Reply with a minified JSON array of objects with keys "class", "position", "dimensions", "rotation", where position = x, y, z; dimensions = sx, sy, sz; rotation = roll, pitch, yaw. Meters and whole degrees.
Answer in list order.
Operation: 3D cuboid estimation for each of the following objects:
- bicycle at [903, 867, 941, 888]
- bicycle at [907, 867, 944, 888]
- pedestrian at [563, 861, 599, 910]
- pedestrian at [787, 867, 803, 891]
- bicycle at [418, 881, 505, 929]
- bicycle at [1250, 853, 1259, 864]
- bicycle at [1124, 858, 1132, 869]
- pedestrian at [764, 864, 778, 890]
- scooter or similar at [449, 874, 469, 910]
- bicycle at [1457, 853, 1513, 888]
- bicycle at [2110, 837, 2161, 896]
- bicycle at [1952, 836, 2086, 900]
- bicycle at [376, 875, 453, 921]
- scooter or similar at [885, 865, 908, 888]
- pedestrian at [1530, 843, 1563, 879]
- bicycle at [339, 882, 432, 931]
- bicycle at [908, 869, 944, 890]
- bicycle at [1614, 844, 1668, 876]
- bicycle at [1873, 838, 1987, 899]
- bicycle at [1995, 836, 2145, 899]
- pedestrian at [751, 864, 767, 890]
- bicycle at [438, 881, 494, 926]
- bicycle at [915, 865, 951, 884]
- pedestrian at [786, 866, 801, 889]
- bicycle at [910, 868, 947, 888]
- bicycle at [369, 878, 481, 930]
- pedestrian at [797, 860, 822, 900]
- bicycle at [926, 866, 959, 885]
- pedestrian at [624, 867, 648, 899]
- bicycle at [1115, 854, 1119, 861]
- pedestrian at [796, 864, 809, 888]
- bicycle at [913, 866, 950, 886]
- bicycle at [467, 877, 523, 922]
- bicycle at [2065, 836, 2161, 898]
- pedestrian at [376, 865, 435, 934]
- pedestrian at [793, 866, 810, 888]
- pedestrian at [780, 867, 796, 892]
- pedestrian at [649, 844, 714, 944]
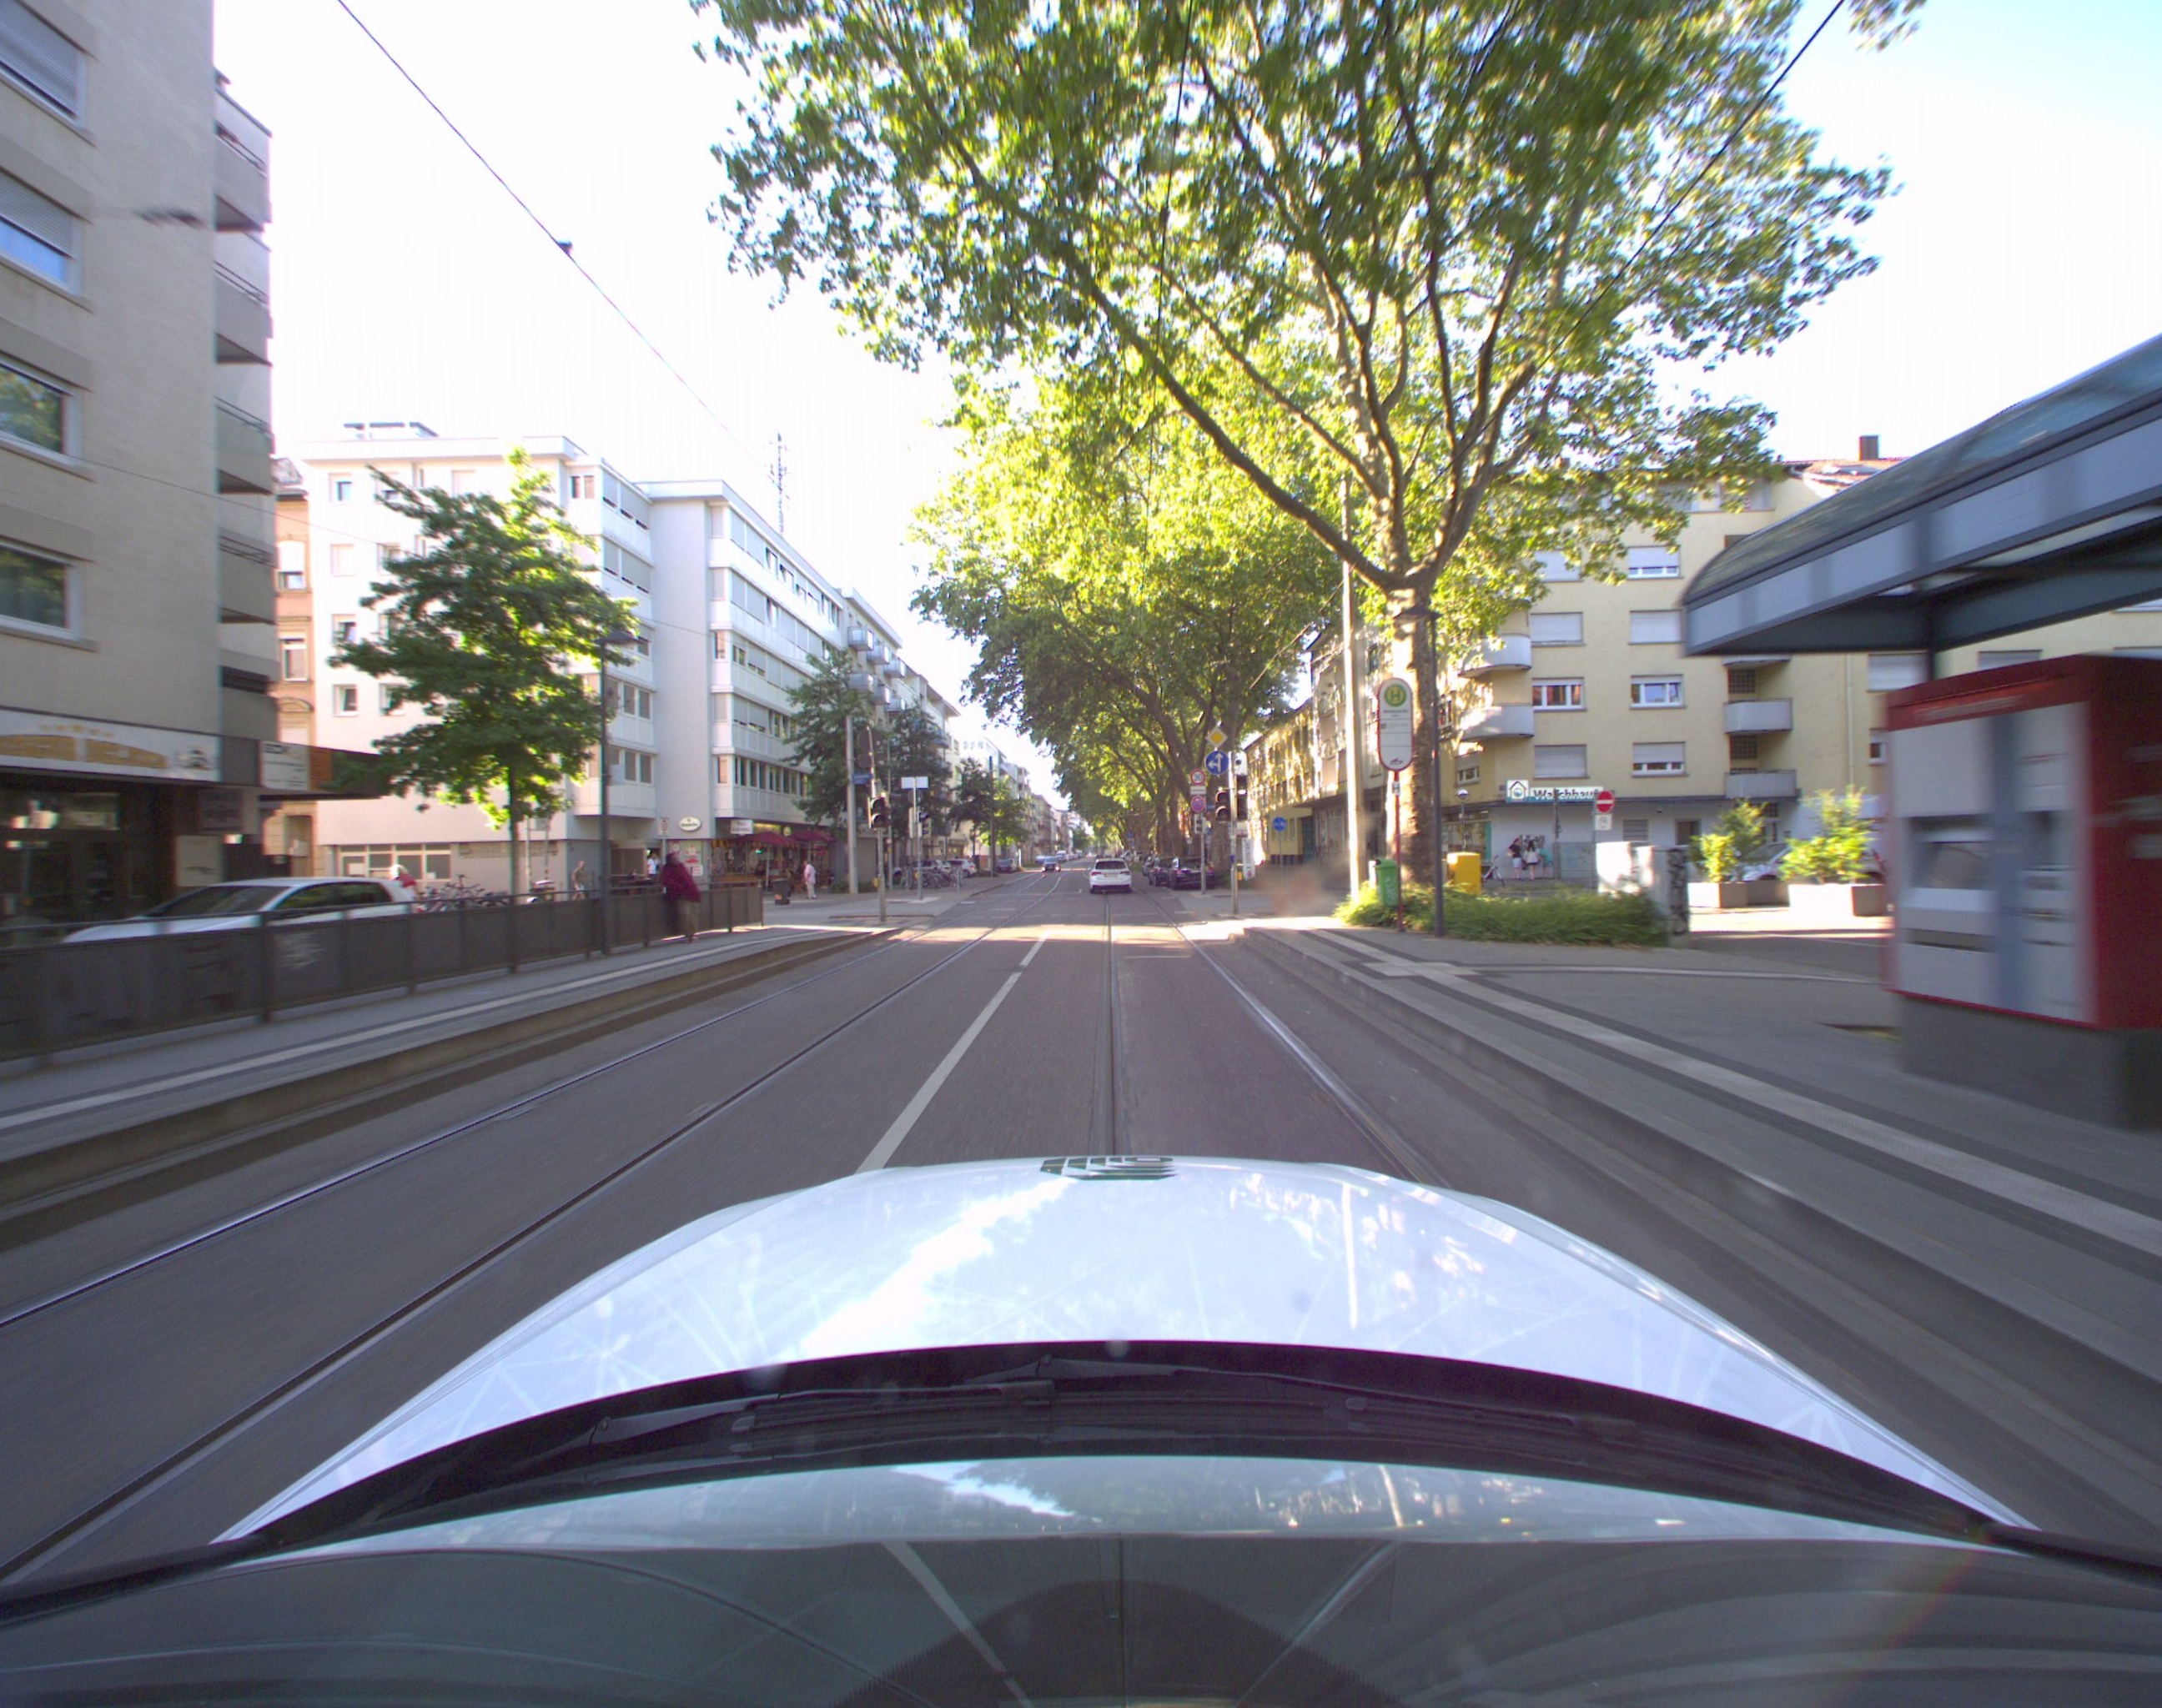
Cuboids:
[{"class":"bicycle","position":[-8.118,1.197,41.599],"dimensions":[1.825,1.007,0.657],"rotation":[0,-1,-4]},{"class":"bicycle","position":[-8.013,1.207,42.038],"dimensions":[1.825,1.007,0.657],"rotation":[0,-1,-4]},{"class":"pedestrian","position":[-17.769,1.105,28.966],"dimensions":[0.756,1.671,0.768],"rotation":[-2,0,-4]},{"class":"pedestrian","position":[-14.461,1.258,41.134],"dimensions":[0.604,1.198,0.685],"rotation":[-2,0,-33]},{"class":"bicycle","position":[-15.980,1.318,21.016],"dimensions":[1.849,1.156,0.573],"rotation":[-2,0,5]},{"class":"bicycle","position":[18.363,0.463,86.109],"dimensions":[0.580,1.104,1.923],"rotation":[-3,0,1]},{"class":"bicycle","position":[4.628,0.940,80.327],"dimensions":[0.679,1.071,1.782],"rotation":[-2,0,2]},{"class":"pedestrian","position":[-14.493,1.067,38.065],"dimensions":[0.512,1.198,0.561],"rotation":[-2,0,-15]},{"class":"scooter or similar","position":[-22.775,1.386,29.830],"dimensions":[0.500,1.259,1.293],"rotation":[-1,0,-34]},{"class":"bicycle","position":[14.588,0.586,29.424],"dimensions":[1.797,1.156,0.741],"rotation":[-3,0,-21]},{"class":"bicycle","position":[21.956,0.242,16.172],"dimensions":[0.658,1.156,1.851],"rotation":[-3,0,1]},{"class":"bicycle","position":[18.479,0.267,16.104],"dimensions":[0.598,1.156,1.696],"rotation":[-3,0,-3]},{"class":"bicycle","position":[-17.650,1.162,21.578],"dimensions":[1.772,1.156,0.574],"rotation":[-2,0,12]},{"class":"scooter or similar","position":[-9.505,1.143,42.051],"dimensions":[1.076,1.176,0.498],"rotation":[0,-1,0]},{"class":"pedestrian","position":[18.482,0.279,32.338],"dimensions":[0.838,1.415,0.767],"rotation":[-2,0,-7]},{"class":"bicycle","position":[-17.728,1.322,20.777],"dimensions":[1.781,1.156,0.571],"rotation":[-2,0,-6]},{"class":"bicycle","position":[-7.615,1.251,40.104],"dimensions":[1.687,1.007,0.657],"rotation":[0,-1,-4]},{"class":"bicycle","position":[22.549,0.240,32.787],"dimensions":[1.686,1.156,0.602],"rotation":[-3,0,1]},{"class":"bicycle","position":[17.403,0.284,16.752],"dimensions":[0.597,1.156,1.700],"rotation":[-3,0,5]},{"class":"bicycle","position":[19.727,0.258,16.317],"dimensions":[0.633,1.156,1.984],"rotation":[-3,0,4]},{"class":"pedestrian","position":[-15.186,1.085,38.428],"dimensions":[0.566,1.198,0.508],"rotation":[-2,0,-34]},{"class":"bicycle","position":[-16.485,1.315,21.824],"dimensions":[1.766,1.156,0.576],"rotation":[-2,0,32]},{"class":"bicycle","position":[-7.932,1.118,43.817],"dimensions":[1.825,1.007,0.657],"rotation":[0,-1,-4]},{"class":"pedestrian","position":[-15.324,1.252,43.377],"dimensions":[0.560,1.198,0.624],"rotation":[-2,0,0]},{"class":"bicycle","position":[-7.961,1.236,42.683],"dimensions":[1.825,1.007,0.657],"rotation":[0,-1,-4]},{"class":"bicycle","position":[-16.069,1.209,20.000],"dimensions":[2.038,1.156,0.568],"rotation":[-2,0,-21]},{"class":"pedestrian","position":[-10.828,1.024,32.477],"dimensions":[0.723,1.556,0.768],"rotation":[-2,0,-4]},{"class":"bicycle","position":[-7.669,1.182,45.165],"dimensions":[1.687,1.007,0.657],"rotation":[0,-1,-4]},{"class":"pedestrian","position":[-17.833,1.162,32.619],"dimensions":[0.752,1.241,0.761],"rotation":[-2,0,-32]},{"class":"bicycle","position":[6.210,0.617,140.660],"dimensions":[0.647,1.071,1.583],"rotation":[-2,0,0]},{"class":"pedestrian","position":[-14.352,1.147,42.000],"dimensions":[0.514,1.198,0.559],"rotation":[-2,0,-28]},{"class":"bicycle","position":[-7.889,1.164,43.003],"dimensions":[1.825,1.064,0.657],"rotation":[0,-1,-4]},{"class":"bicycle","position":[-15.717,1.202,21.836],"dimensions":[1.766,1.156,0.576],"rotation":[-2,0,32]},{"class":"bicycle","position":[21.007,0.251,16.060],"dimensions":[0.727,1.156,2.052],"rotation":[-3,0,2]},{"class":"pedestrian","position":[-15.862,1.057,19.133],"dimensions":[0.722,1.556,0.726],"rotation":[-2,0,3]},{"class":"pedestrian","position":[-15.329,1.267,44.665],"dimensions":[0.670,1.198,0.655],"rotation":[-2,0,0]},{"class":"pedestrian","position":[-14.304,1.251,39.750],"dimensions":[0.509,1.198,0.564],"rotation":[-2,0,3]},{"class":"pedestrian","position":[-6.625,0.647,13.530],"dimensions":[0.651,1.585,0.773],"rotation":[-1,0,2]}]
